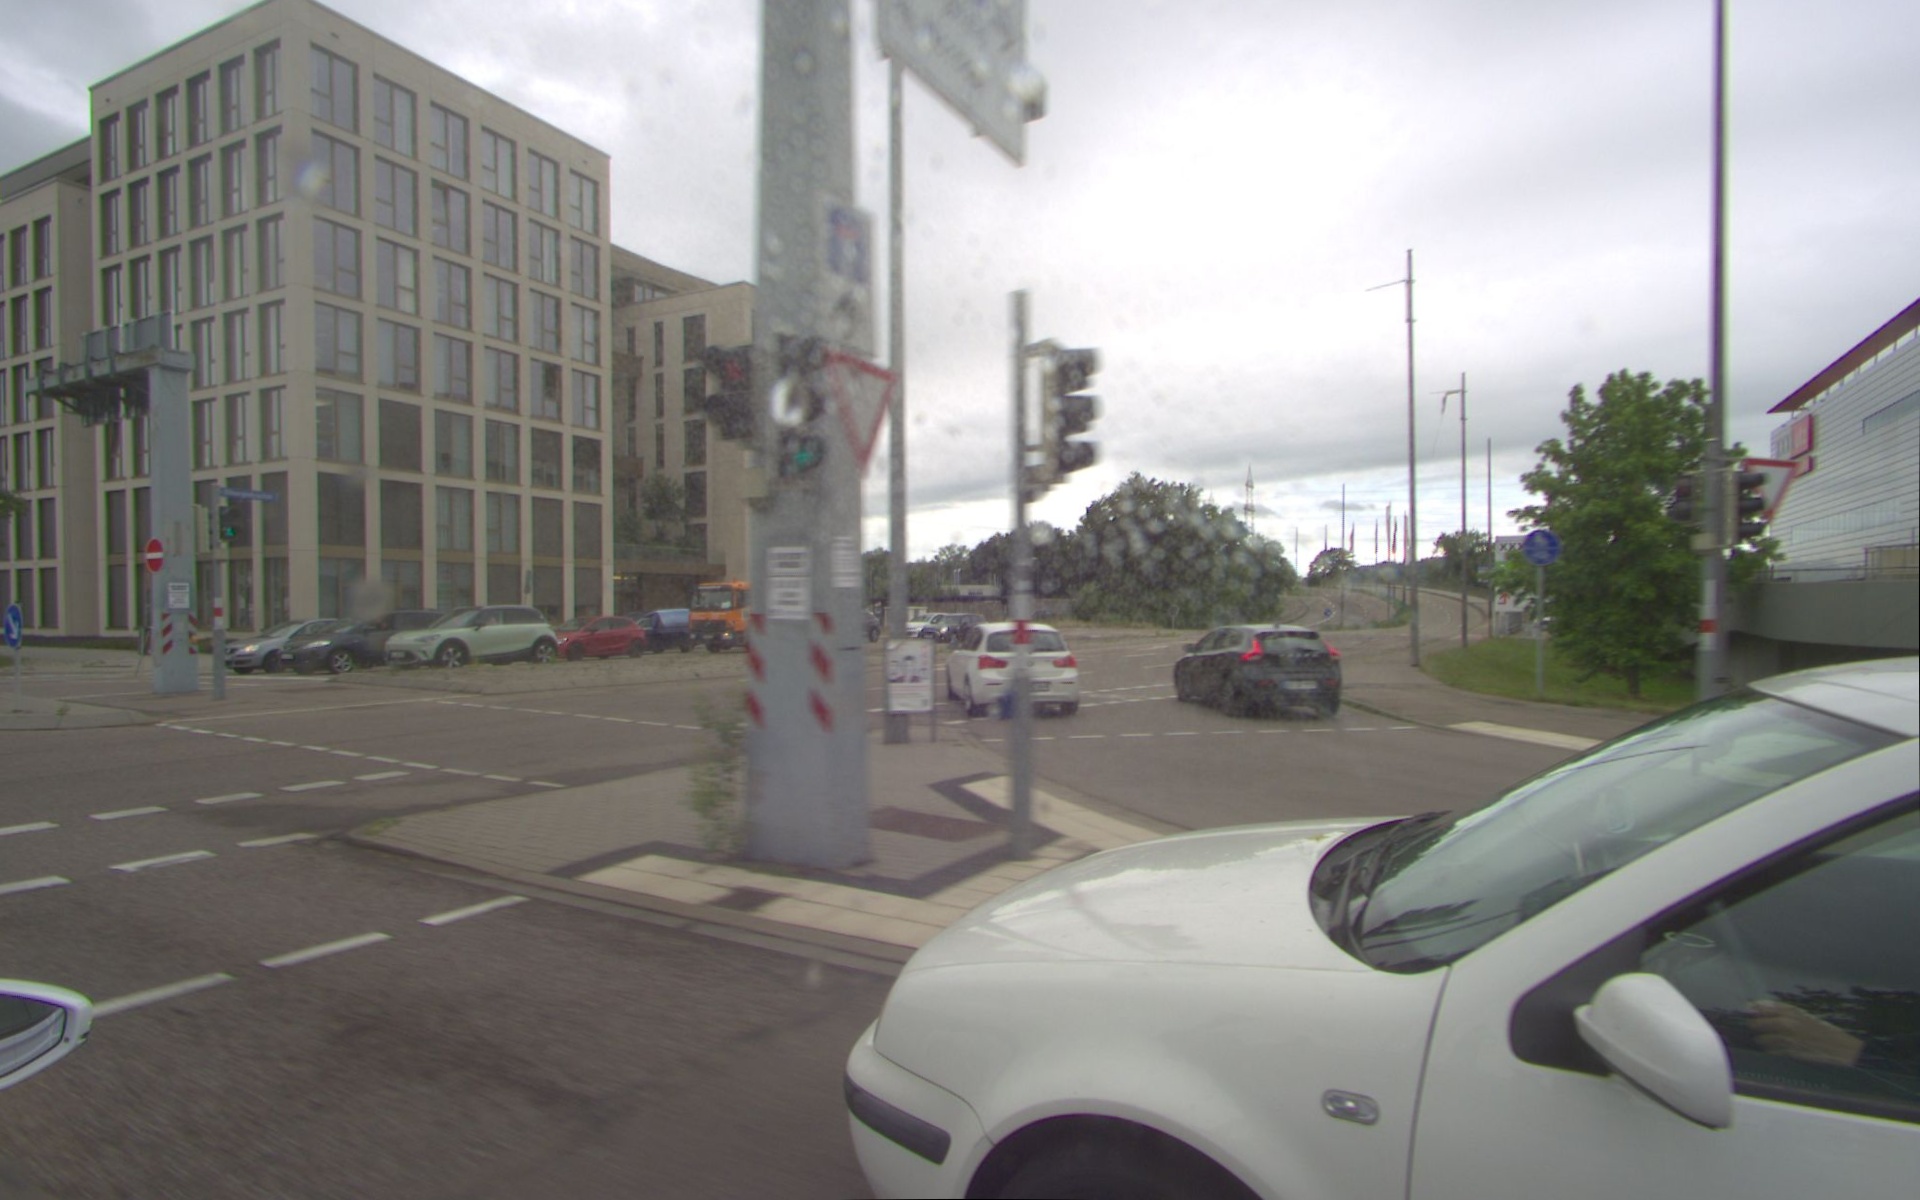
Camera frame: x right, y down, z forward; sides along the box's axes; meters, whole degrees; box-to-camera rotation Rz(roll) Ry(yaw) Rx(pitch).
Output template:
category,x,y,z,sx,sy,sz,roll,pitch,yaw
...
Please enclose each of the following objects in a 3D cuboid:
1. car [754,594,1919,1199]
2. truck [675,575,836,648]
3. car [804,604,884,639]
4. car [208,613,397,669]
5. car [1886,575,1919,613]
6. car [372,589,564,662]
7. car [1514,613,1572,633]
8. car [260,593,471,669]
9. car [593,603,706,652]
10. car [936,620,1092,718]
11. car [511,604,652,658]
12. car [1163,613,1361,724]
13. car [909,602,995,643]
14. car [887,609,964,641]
category,x,y,z,sx,sy,sz,roll,pitch,yaw
car,1.738,0.770,1.767,3.947,1.496,1.830,-2,-3,31
truck,-8.029,0.594,40.238,2.778,2.671,6.650,-1,-3,28
car,-5.878,1.147,51.363,1.972,1.678,4.100,-1,-3,32
car,-18.171,1.146,27.886,1.724,1.450,4.085,-1,-3,27
car,45.561,-0.298,45.958,4.198,1.697,1.769,-2,-3,31
car,-12.230,0.682,25.178,1.875,1.664,4.057,-1,-3,25
car,49.548,1.976,85.068,4.142,1.630,1.712,-1,-3,35
car,-15.401,0.839,26.211,1.969,1.791,4.407,-1,-3,27
car,-12.201,1.128,39.602,1.969,1.791,4.136,-1,-3,27
car,0.756,1.099,16.811,1.800,1.428,4.198,0,-2,-9
car,-12.166,1.030,32.406,1.969,1.621,3.986,-1,-3,27
car,4.847,1.035,16.758,1.868,1.469,4.177,0,1,-3
car,-0.326,1.098,46.768,1.972,1.791,4.401,-1,-3,32
car,-1.922,1.447,56.516,1.977,1.678,4.329,-2,-3,39
